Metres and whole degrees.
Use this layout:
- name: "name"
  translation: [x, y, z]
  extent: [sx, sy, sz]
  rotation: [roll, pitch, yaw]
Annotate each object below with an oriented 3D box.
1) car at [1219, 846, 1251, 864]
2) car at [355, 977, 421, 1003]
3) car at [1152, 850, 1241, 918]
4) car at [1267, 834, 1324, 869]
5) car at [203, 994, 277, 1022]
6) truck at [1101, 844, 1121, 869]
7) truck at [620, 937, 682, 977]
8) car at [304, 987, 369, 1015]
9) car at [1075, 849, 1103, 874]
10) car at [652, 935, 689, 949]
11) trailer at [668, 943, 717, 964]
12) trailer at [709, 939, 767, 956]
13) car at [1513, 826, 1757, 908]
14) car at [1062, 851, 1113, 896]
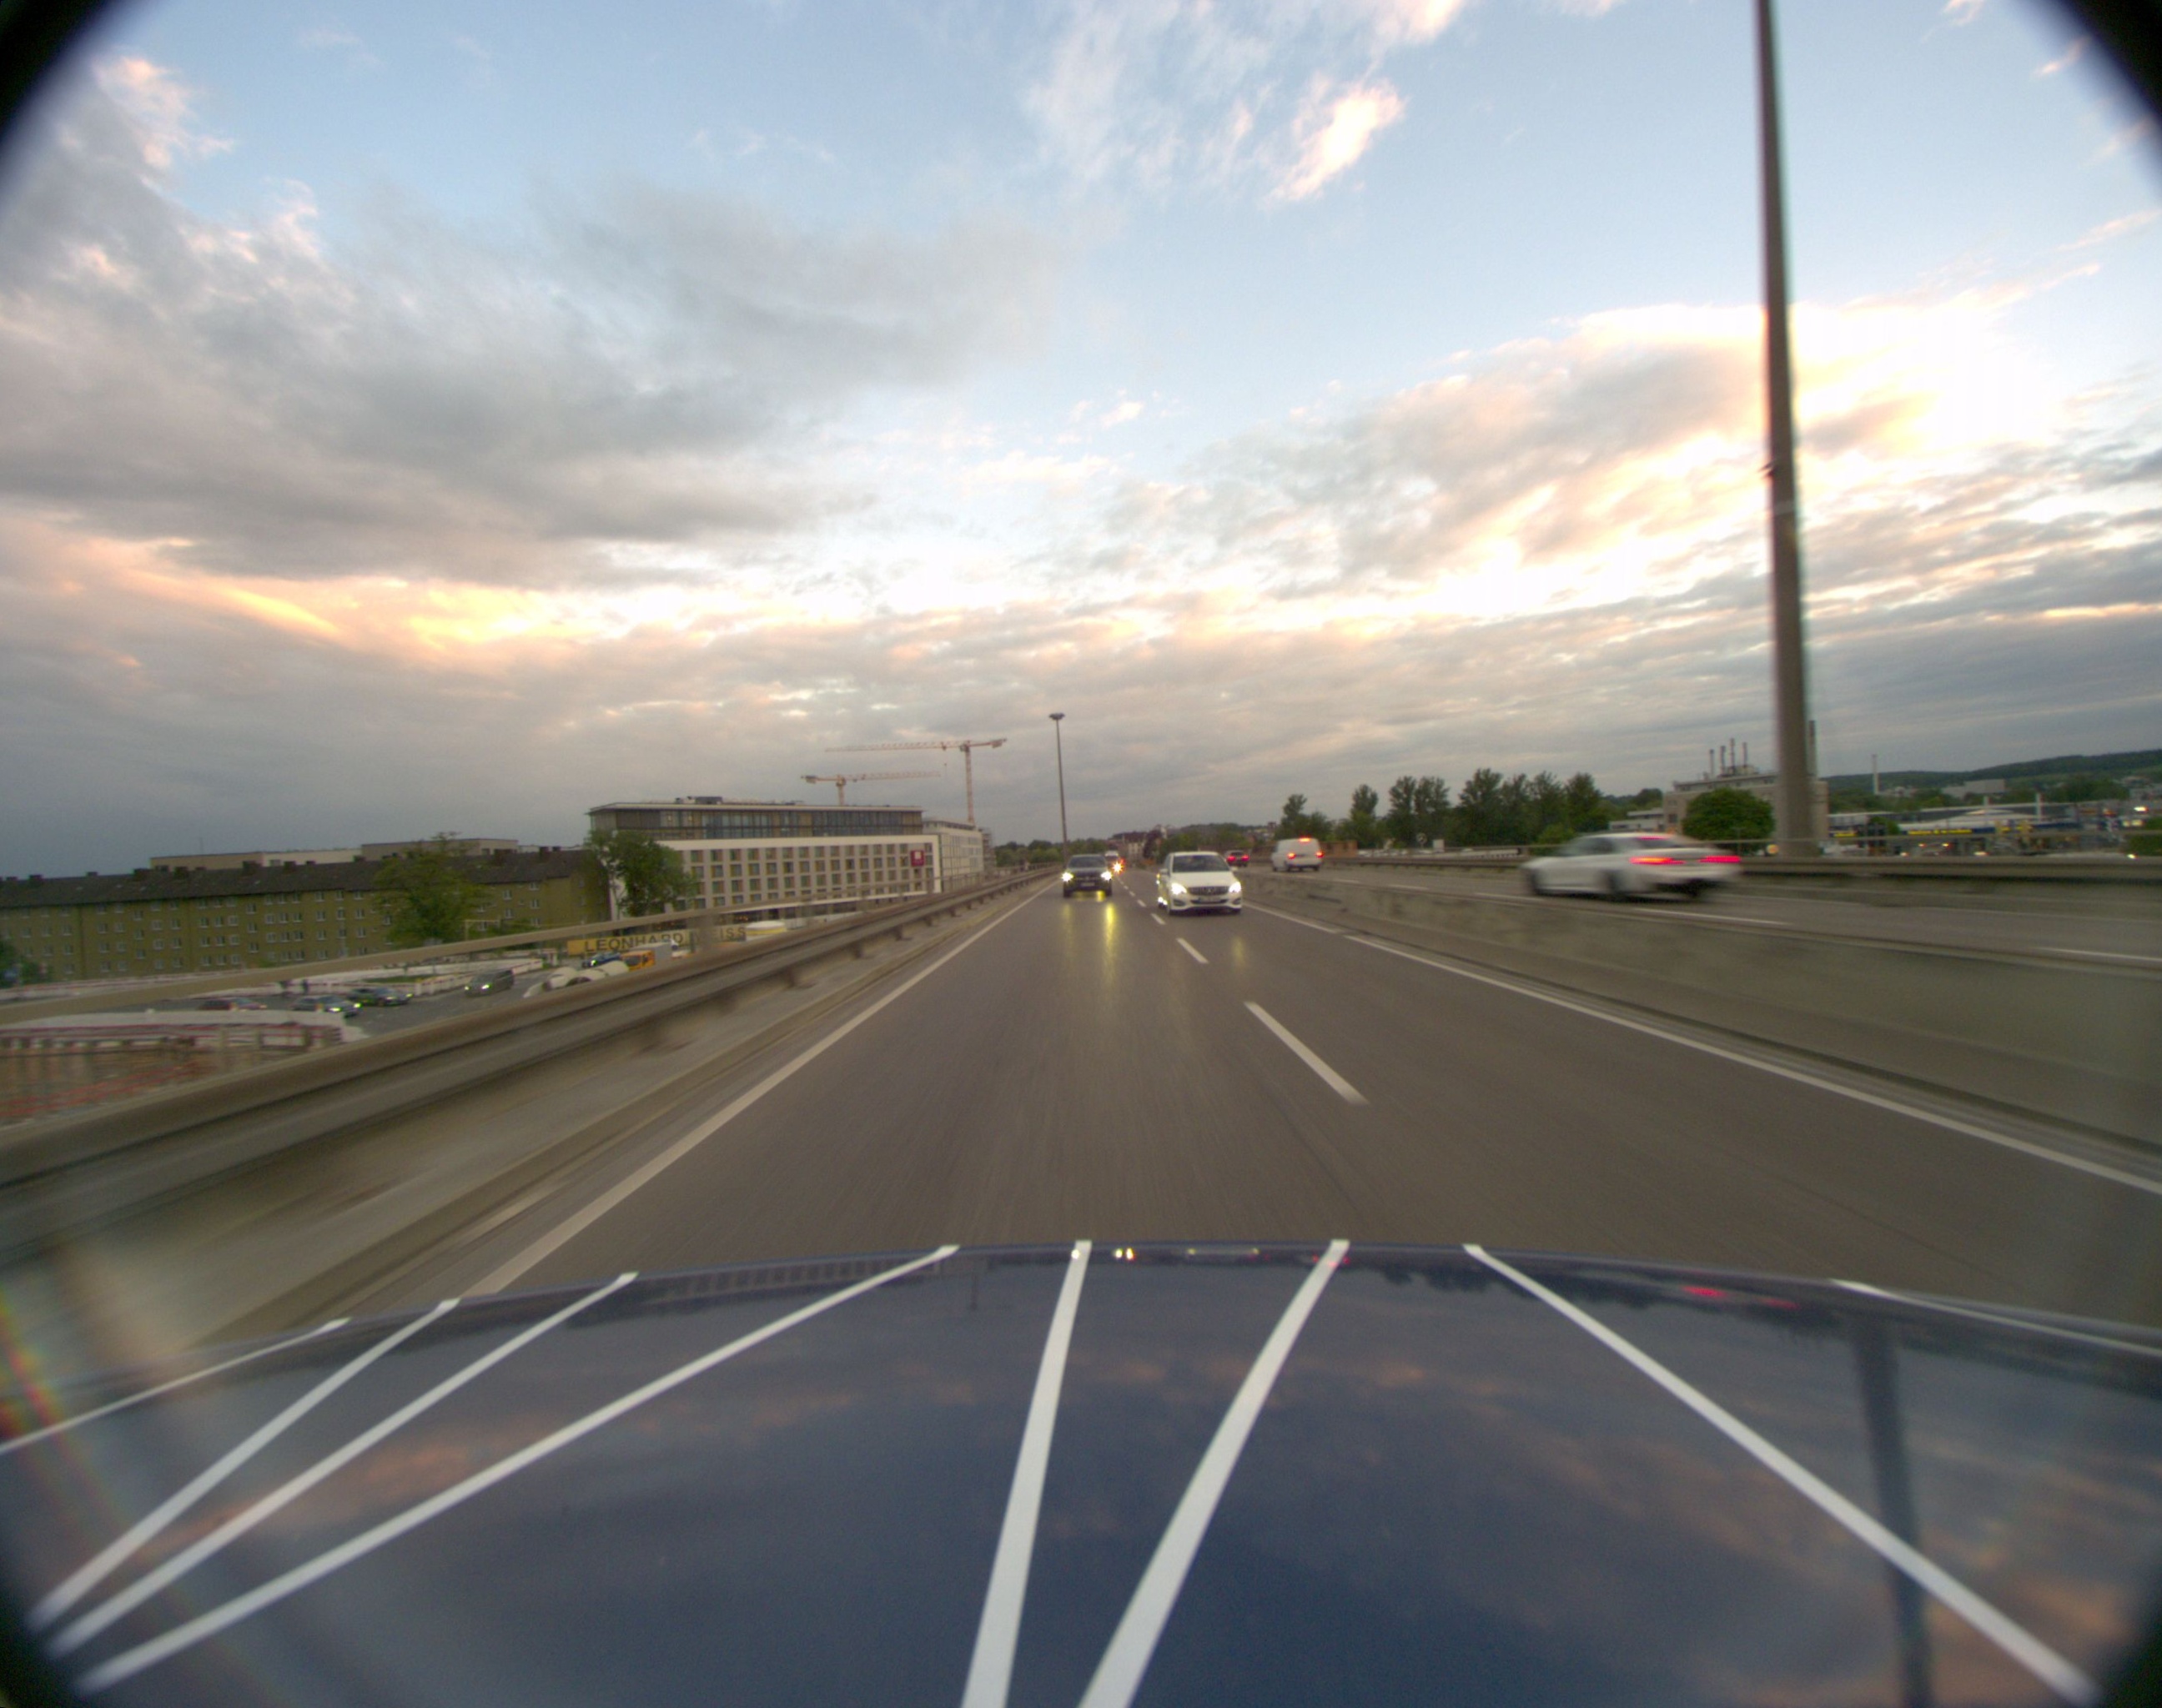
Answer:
- name: "car"
  translation: [13.635, 0.108, 67.603]
  extent: [1.833, 1.465, 4.901]
  rotation: [-2, -1, 0]
- name: "car"
  translation: [-56.556, 11.108, 62.023]
  extent: [4.095, 1.710, 1.804]
  rotation: [-2, 3, 11]
- name: "car"
  translation: [2.931, 0.738, 20.187]
  extent: [1.695, 1.528, 4.784]
  rotation: [-2, -1, 2]
- name: "car"
  translation: [12.877, -0.146, 45.950]
  extent: [1.906, 1.889, 5.459]
  rotation: [-2, 0, 0]
- name: "car"
  translation: [-64.663, 11.843, 58.460]
  extent: [3.764, 1.609, 1.649]
  rotation: [-3, 0, 1]
- name: "truck"
  translation: [5.588, 0.455, 138.342]
  extent: [3.165, 4.369, 8.795]
  rotation: [-2, 0, 4]
- name: "truck"
  translation: [-42.559, 10.164, 75.495]
  extent: [2.163, 2.930, 7.335]
  rotation: [-5, -1, -4]
- name: "car"
  translation: [-55.697, 11.009, 56.870]
  extent: [3.788, 1.729, 1.647]
  rotation: [-4, 1, 15]
- name: "car"
  translation: [0.556, 0.559, 54.933]
  extent: [1.891, 1.641, 4.344]
  rotation: [-3, -1, 0]
- name: "car"
  translation: [-53.880, 11.560, 99.758]
  extent: [4.006, 1.433, 1.909]
  rotation: [-4, -3, -38]
- name: "trailer"
  translation: [-42.389, 10.825, 83.054]
  extent: [1.998, 1.339, 5.874]
  rotation: [-8, -1, 2]
- name: "trailer"
  translation: [-39.800, 10.833, 88.394]
  extent: [5.876, 1.340, 2.024]
  rotation: [-2, 1, -17]
- name: "car"
  translation: [11.813, 0.241, 16.728]
  extent: [1.836, 1.494, 4.816]
  rotation: [-2, 0, 0]
- name: "car"
  translation: [0.318, 0.746, 29.887]
  extent: [1.823, 1.602, 4.213]
  rotation: [-2, 0, 2]
